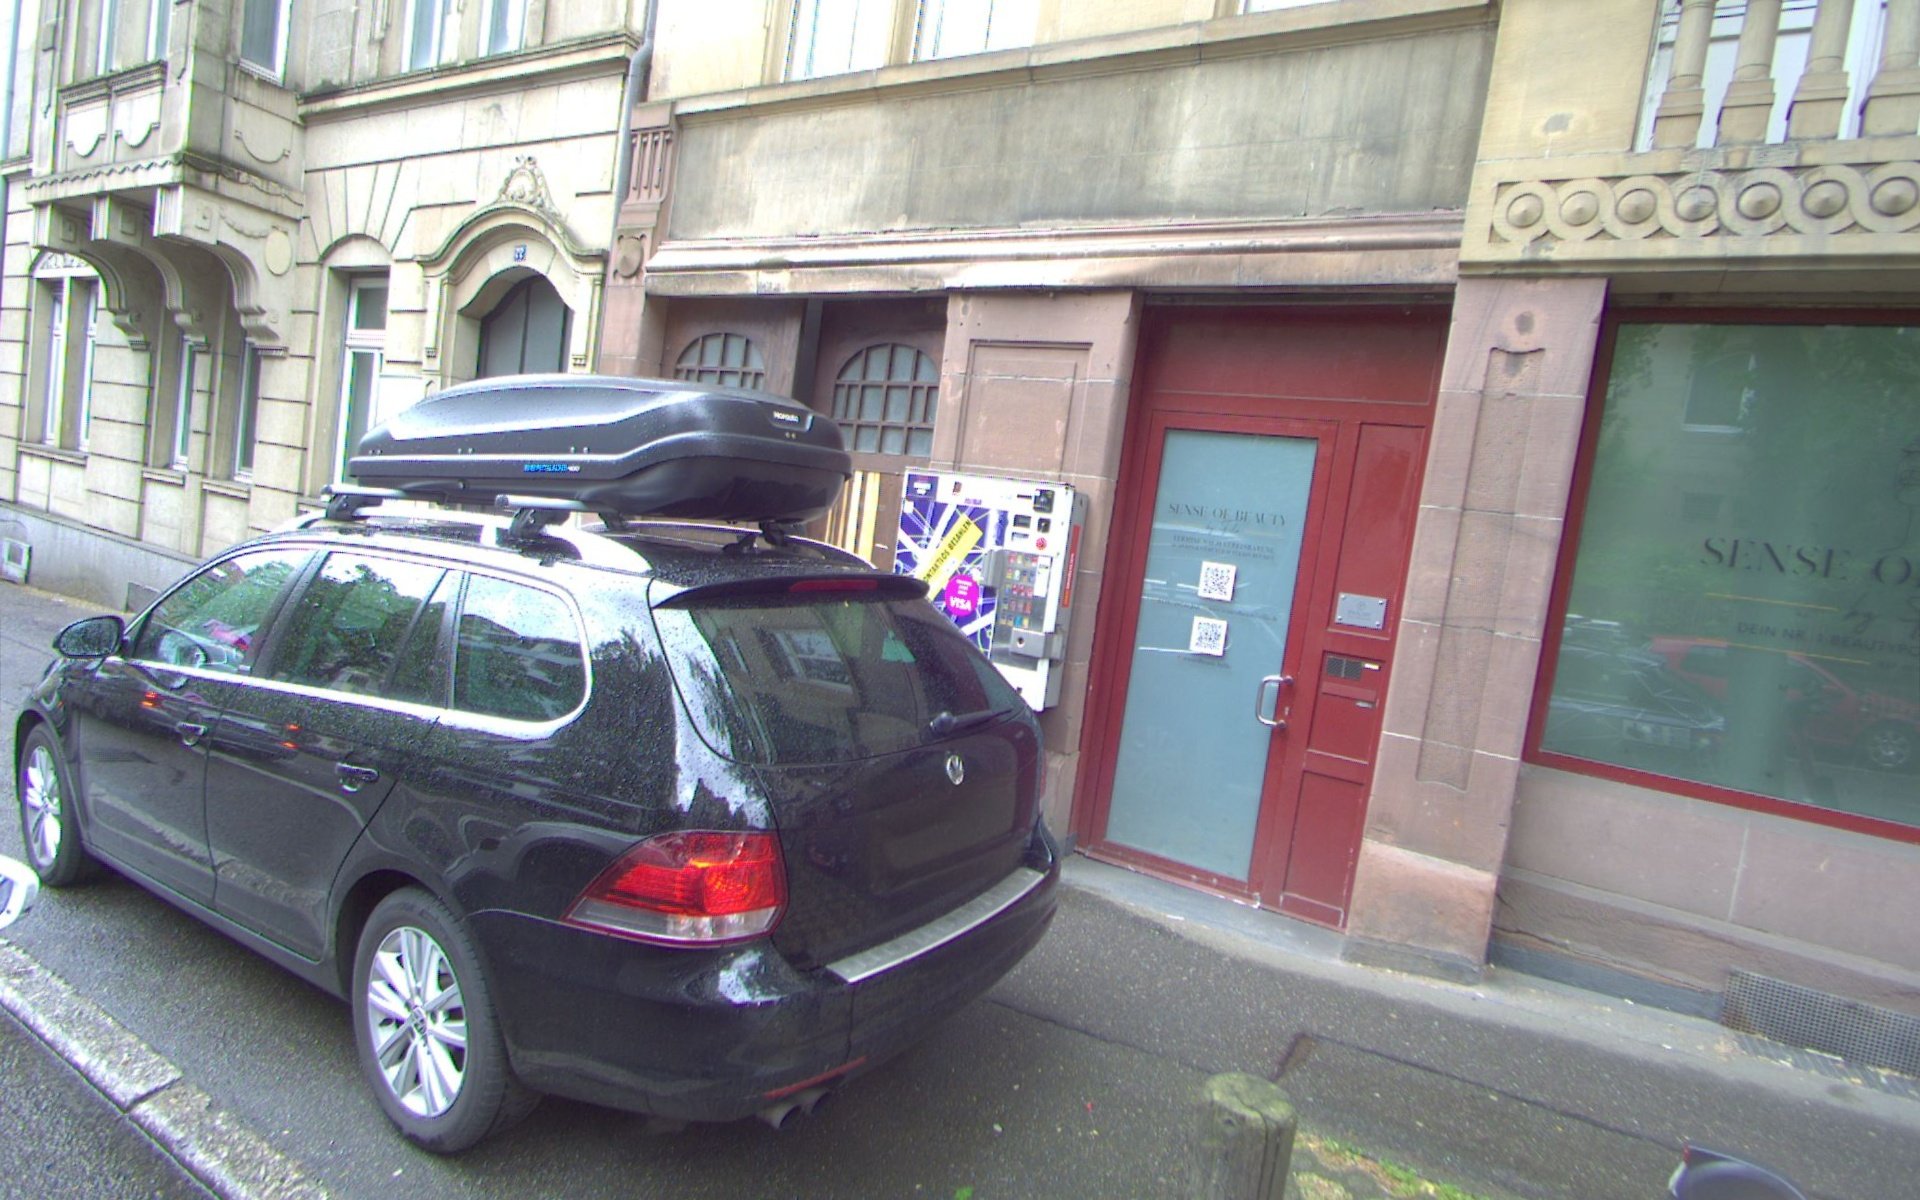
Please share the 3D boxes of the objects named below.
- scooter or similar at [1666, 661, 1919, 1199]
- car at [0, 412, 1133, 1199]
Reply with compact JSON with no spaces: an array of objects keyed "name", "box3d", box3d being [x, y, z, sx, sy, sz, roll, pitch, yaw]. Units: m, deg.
[{"name":"scooter or similar","box3d":[2.170,0.863,1.905,1.183,1.336,0.593,7,3,32]},{"name":"car","box3d":[-1.688,0.328,3.462,4.031,1.675,1.757,7,6,32]}]
